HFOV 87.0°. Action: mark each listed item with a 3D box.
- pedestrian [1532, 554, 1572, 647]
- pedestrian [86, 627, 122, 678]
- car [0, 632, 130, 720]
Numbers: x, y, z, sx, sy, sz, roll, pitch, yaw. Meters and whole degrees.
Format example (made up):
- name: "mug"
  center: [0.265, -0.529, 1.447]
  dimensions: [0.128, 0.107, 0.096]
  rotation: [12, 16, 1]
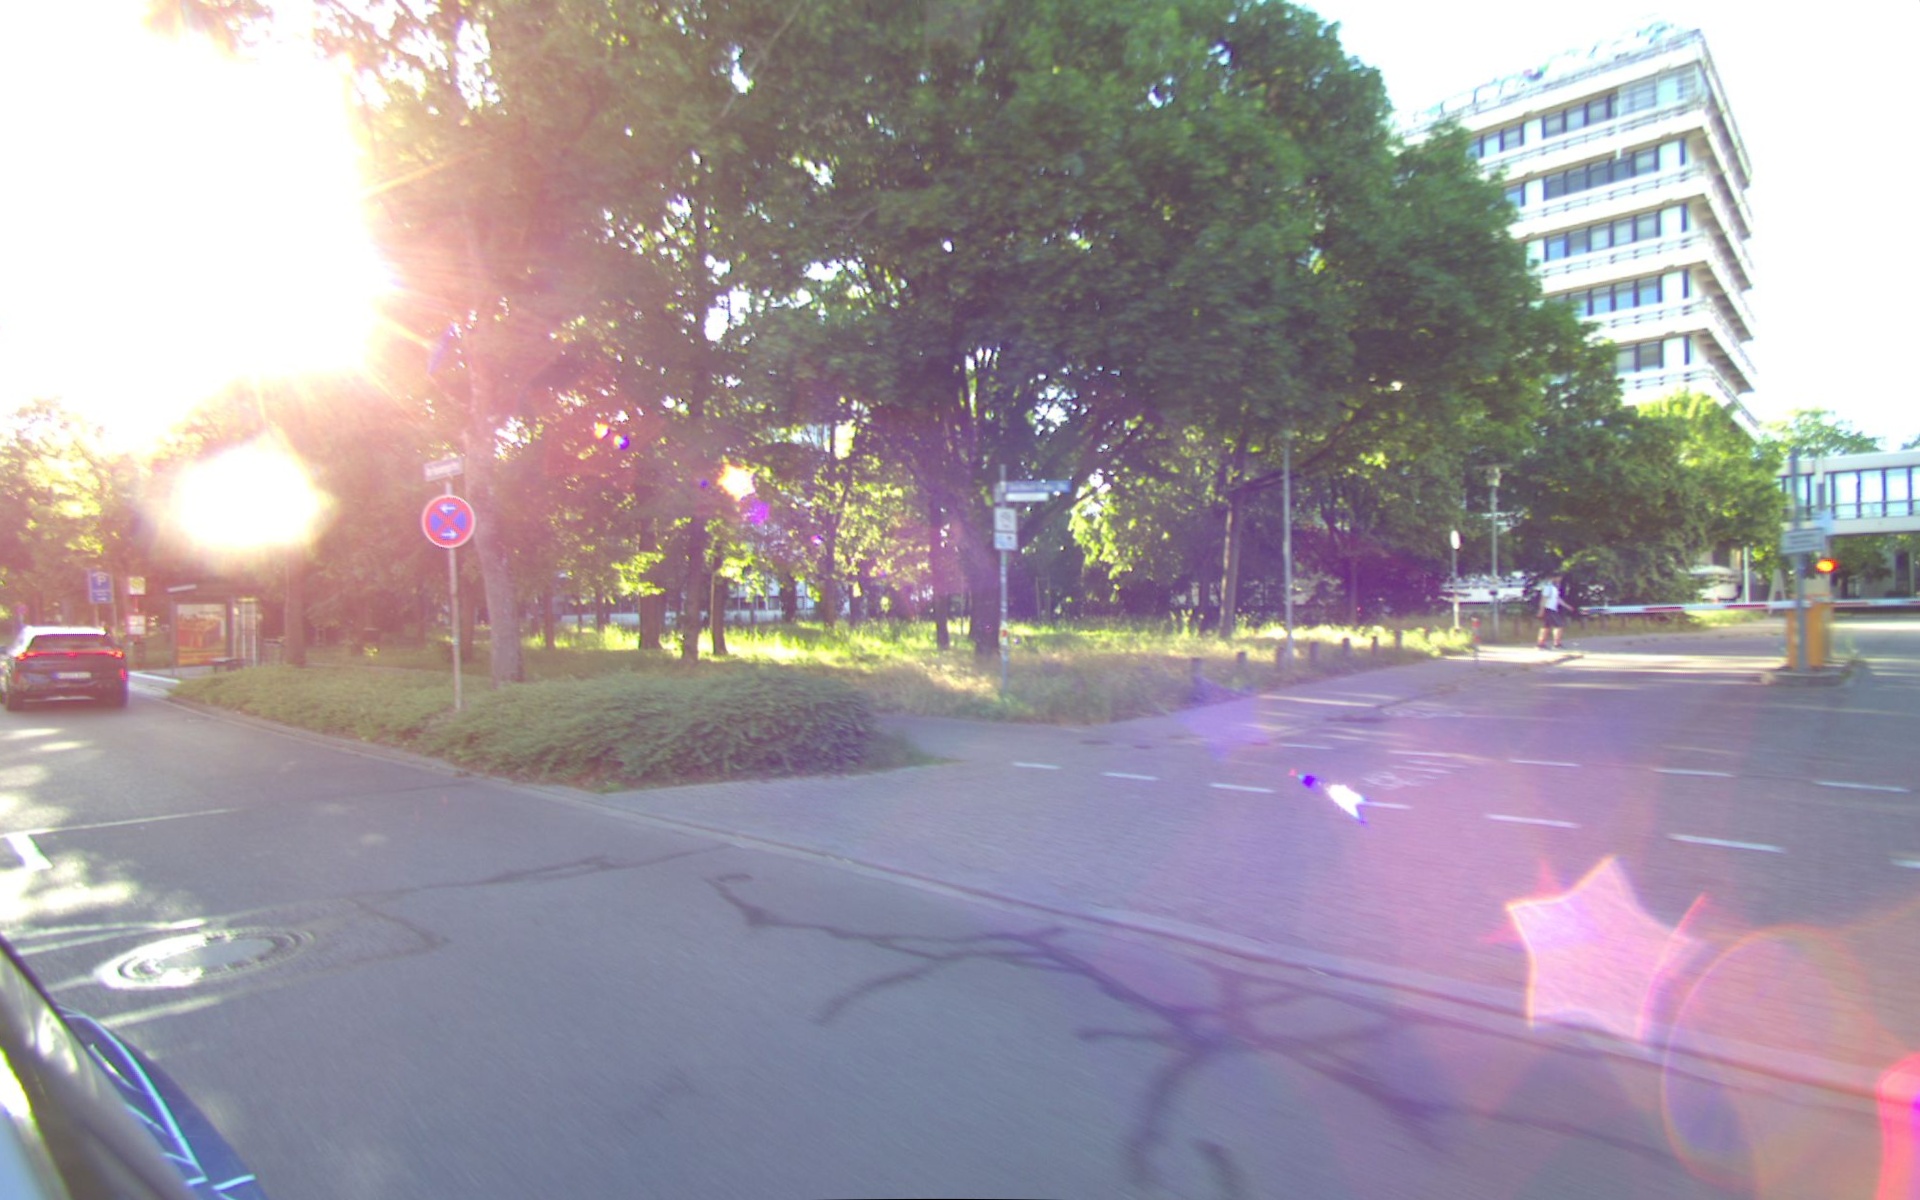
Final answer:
- name: "pedestrian"
  center: [13.134, 0.014, 22.456]
  dimensions: [0.590, 2.029, 0.748]
  rotation: [-1, 0, 42]
- name: "pedestrian"
  center: [-31.506, 1.918, 37.266]
  dimensions: [0.720, 1.835, 0.893]
  rotation: [-2, -1, 41]
- name: "car"
  center: [-18.291, 1.458, 20.490]
  dimensions: [4.337, 1.591, 1.823]
  rotation: [-2, -3, 44]
